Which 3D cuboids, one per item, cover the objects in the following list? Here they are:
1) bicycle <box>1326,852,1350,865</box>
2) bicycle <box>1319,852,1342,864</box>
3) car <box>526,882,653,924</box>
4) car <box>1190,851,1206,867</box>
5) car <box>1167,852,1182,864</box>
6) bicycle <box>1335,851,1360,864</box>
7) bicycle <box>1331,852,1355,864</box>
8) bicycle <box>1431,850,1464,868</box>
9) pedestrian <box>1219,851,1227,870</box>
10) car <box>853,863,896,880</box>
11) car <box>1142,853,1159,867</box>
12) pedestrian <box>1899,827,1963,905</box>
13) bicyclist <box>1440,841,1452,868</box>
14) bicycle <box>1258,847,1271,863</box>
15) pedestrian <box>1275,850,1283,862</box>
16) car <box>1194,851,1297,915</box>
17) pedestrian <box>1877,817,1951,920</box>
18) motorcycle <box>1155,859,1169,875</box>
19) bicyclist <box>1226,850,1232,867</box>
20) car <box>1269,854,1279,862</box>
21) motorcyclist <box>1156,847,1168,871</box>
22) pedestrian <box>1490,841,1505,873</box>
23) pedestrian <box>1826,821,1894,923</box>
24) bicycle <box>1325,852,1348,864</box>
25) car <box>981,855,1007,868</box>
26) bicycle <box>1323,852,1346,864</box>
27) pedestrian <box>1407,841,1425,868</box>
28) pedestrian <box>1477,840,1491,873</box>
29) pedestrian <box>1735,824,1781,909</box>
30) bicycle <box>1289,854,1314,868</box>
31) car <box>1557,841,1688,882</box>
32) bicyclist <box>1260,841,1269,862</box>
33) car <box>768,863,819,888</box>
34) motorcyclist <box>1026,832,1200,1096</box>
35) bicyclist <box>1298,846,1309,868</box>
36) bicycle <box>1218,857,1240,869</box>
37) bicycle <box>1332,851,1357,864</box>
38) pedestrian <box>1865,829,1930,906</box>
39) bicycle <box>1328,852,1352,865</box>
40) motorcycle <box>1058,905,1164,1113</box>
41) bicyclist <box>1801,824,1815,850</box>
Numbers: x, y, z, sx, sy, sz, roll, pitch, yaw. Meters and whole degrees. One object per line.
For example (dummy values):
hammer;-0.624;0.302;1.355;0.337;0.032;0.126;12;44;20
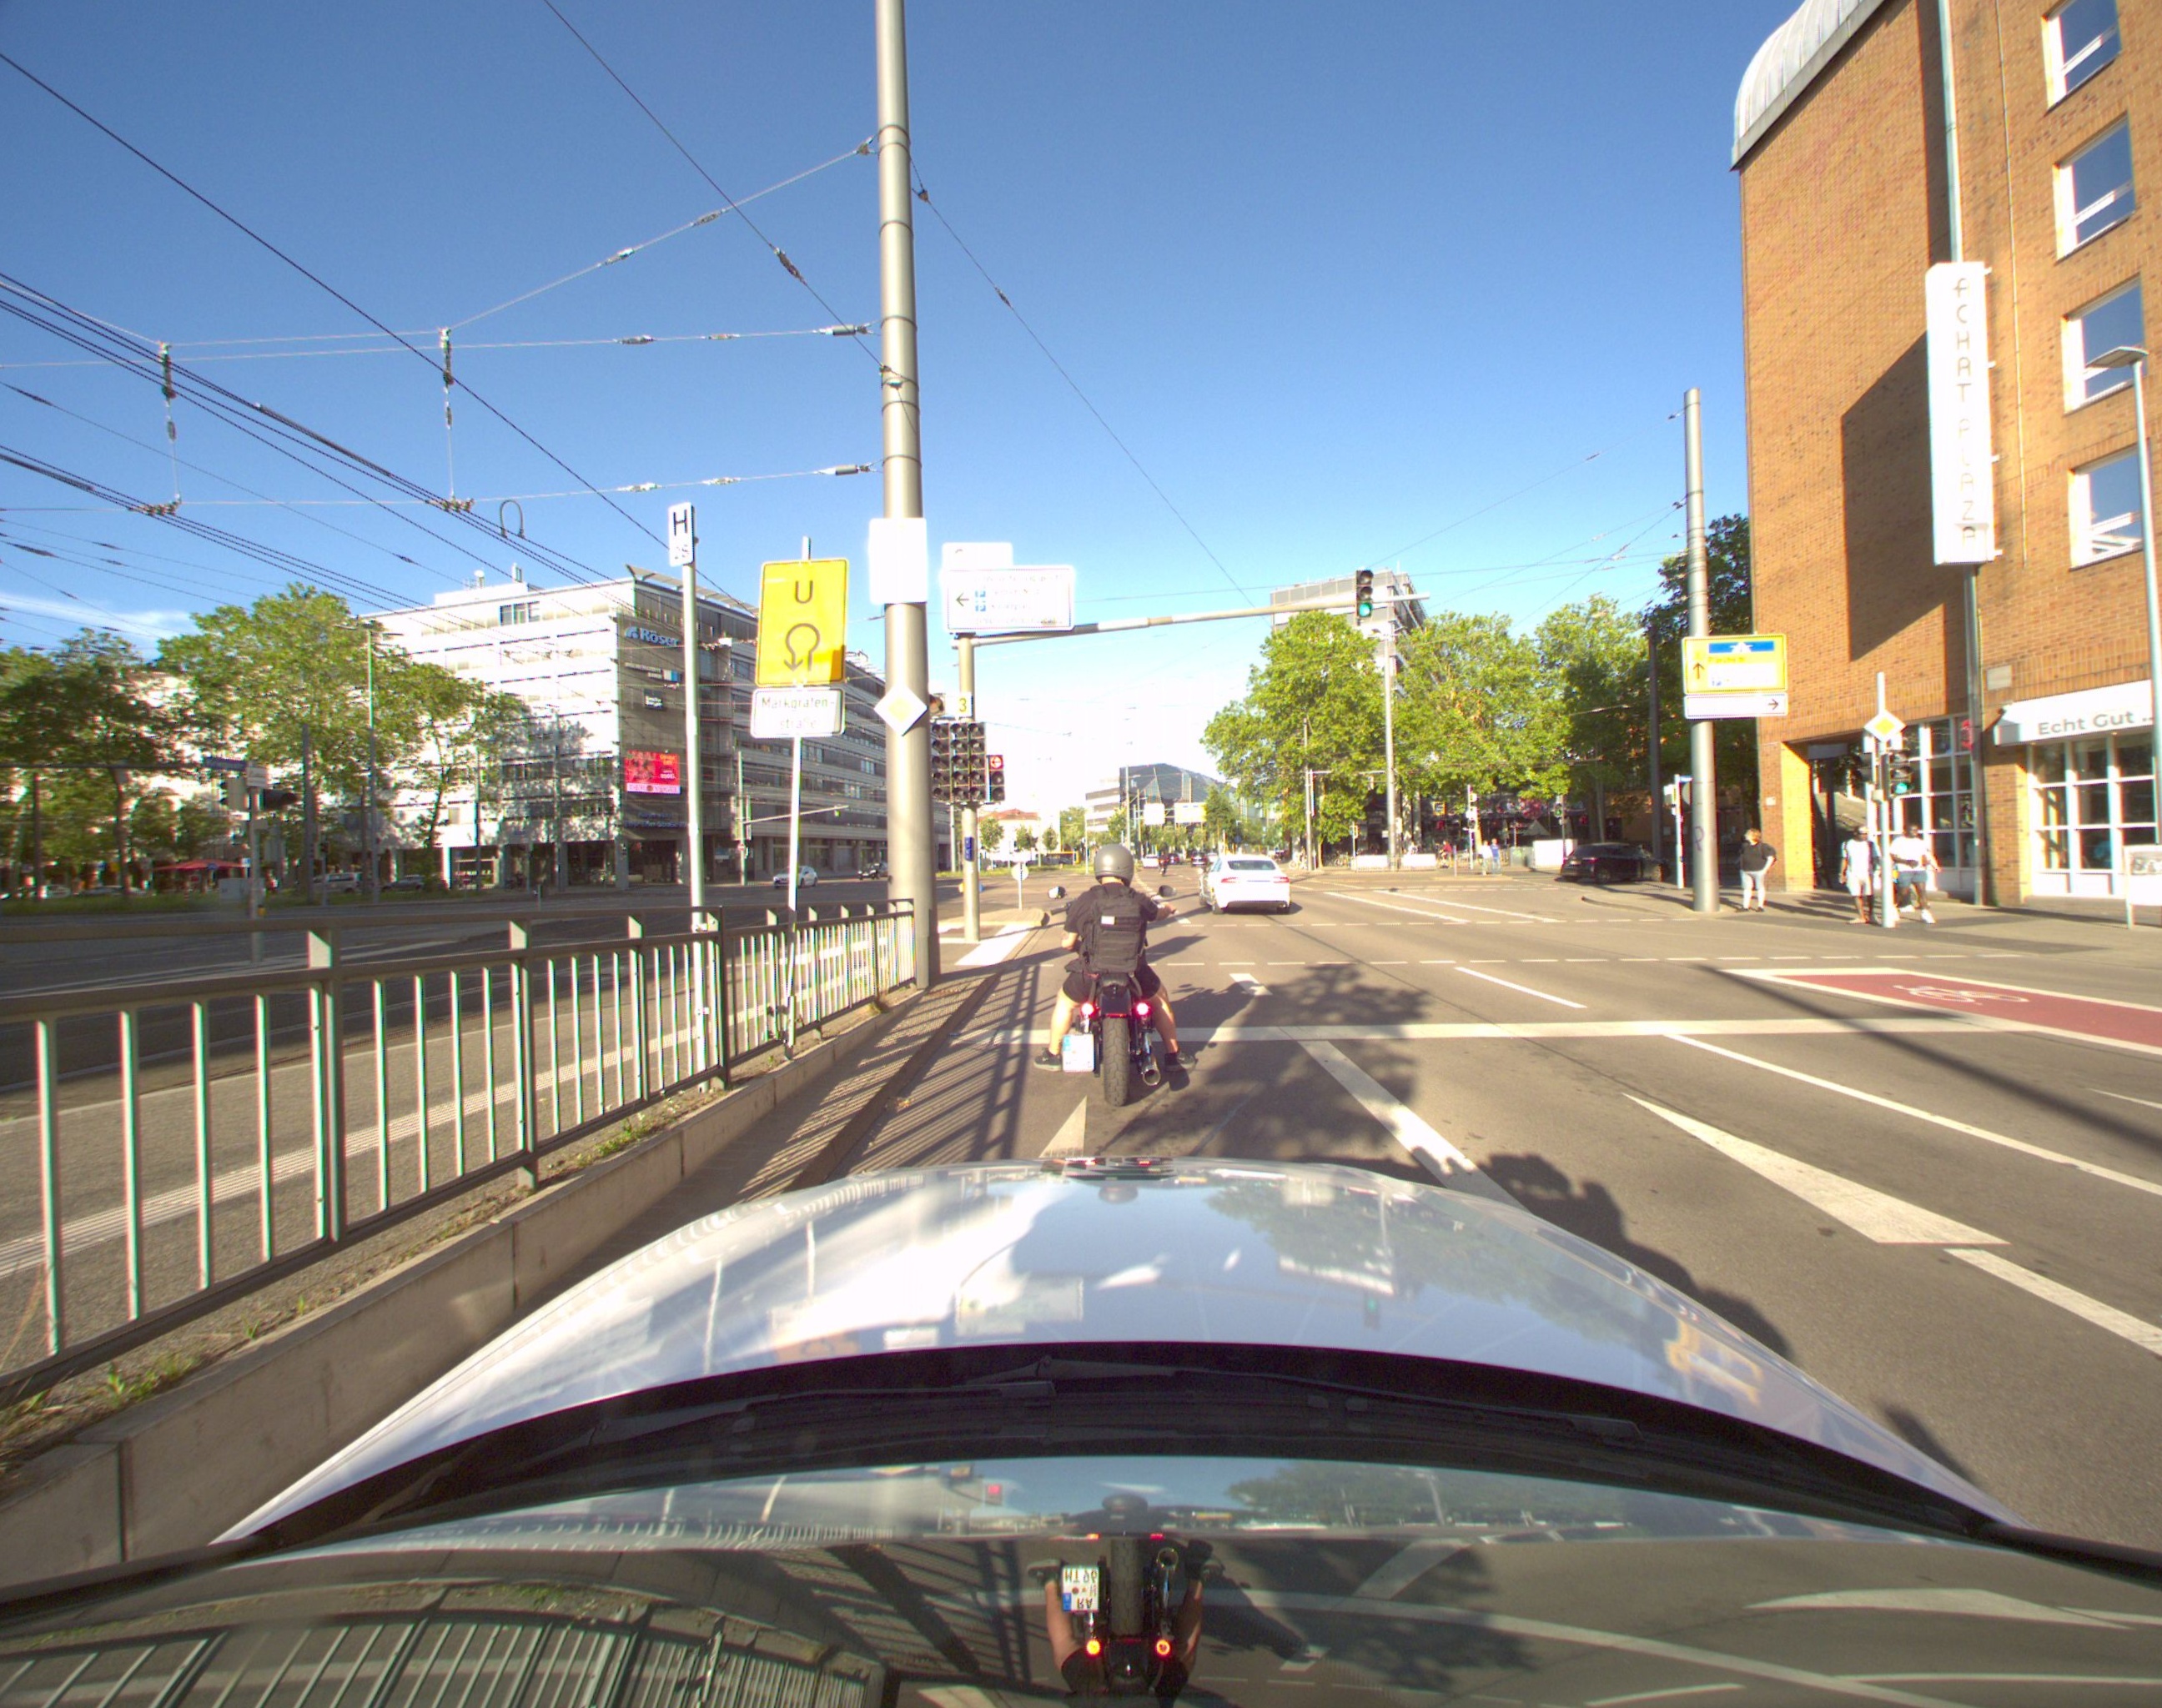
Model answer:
bicycle;21.537;0.354;68.170;1.874;1.046;0.360;0;-1;1
bicycle;21.526;0.353;70.308;1.874;1.046;0.360;0;0;1
car;-13.863;1.358;23.112;2.884;1.063;1.235;0;-1;-19
car;13.365;0.583;92.881;1.721;1.732;4.624;0;0;9
car;13.212;0.620;115.080;1.791;1.678;4.054;0;-1;12
bicycle;21.376;0.282;65.386;1.874;1.046;0.360;0;-1;1
bicycle;21.547;0.327;66.981;1.874;1.046;0.360;0;-1;1
bicycle;25.244;0.347;56.145;2.034;1.214;0.421;0;-1;2
pedestrian;11.954;0.535;68.550;0.587;1.557;0.488;0;-1;-6
car;-18.048;1.498;71.313;1.812;1.430;4.256;-1;-1;13
car;7.395;0.621;86.368;1.723;1.457;4.425;0;-1;6
pedestrian;16.668;0.230;15.980;0.590;1.476;0.552;-2;-1;2
bicyclist;25.177;0.039;56.158;0.582;1.837;0.403;0;-1;1
bicycle;16.386;0.109;72.822;0.722;1.367;2.922;0;-1;6
pedestrian;21.949;0.276;90.250;0.814;1.314;0.640;-1;-1;11
car;4.126;0.677;21.106;1.797;1.430;4.453;-2;0;1
pedestrian;14.832;0.258;14.518;0.588;1.780;0.684;-3;-1;13
motorcycle;5.451;0.853;54.893;0.801;1.050;2.376;0;-1;2
bicyclist;12.191;0.391;66.964;0.380;1.373;0.344;0;-1;-7
car;40.257;0.824;169.650;1.789;1.678;4.059;0;-1;18
motorcyclist;5.437;0.330;54.763;0.793;1.580;0.529;0;-1;1
pedestrian;19.577;0.126;38.259;0.561;1.479;0.706;-1;-1;22
pedestrian;14.138;0.320;14.800;0.587;1.780;0.685;-5;0;22
bicycle;21.520;0.348;68.656;1.874;1.046;0.360;0;0;1
car;-10.225;0.926;95.886;1.737;1.524;4.014;-1;-1;13
bicycle;21.519;0.348;69.156;1.874;1.046;0.360;0;0;1
pedestrian;21.341;0.021;51.876;0.829;1.704;0.760;0;-1;2
pedestrian;18.980;0.103;38.372;0.560;1.532;0.706;-1;-1;27
pedestrian;14.530;0.270;17.482;0.727;1.792;0.515;-1;-1;42
bicycle;17.559;0.562;64.982;1.854;1.044;0.540;-1;-1;20
car;20.294;0.272;30.597;4.026;1.450;1.732;-1;0;-9
bicyclist;16.389;-0.232;72.915;0.693;1.808;0.730;0;-1;6
car;-18.678;1.367;53.120;1.821;1.430;4.526;-2;0;-2
motorcyclist;0.208;0.675;5.423;1.027;1.593;0.874;-2;0;1
bicyclist;17.740;0.240;64.919;0.682;1.673;0.544;-2;-2;21
bicycle;12.171;0.751;66.948;1.823;0.925;0.357;0;-1;-7
bicycle;21.404;0.304;66.168;1.874;1.046;0.360;0;-1;1
pedestrian;15.971;0.260;15.943;0.590;1.452;0.601;-2;-1;2
bicycle;21.488;0.346;67.538;1.874;1.046;0.360;0;0;1
motorcycle;0.209;0.951;5.755;0.598;1.036;2.235;0;0;2
bicyclist;42.717;-0.992;47.857;0.560;1.519;0.637;-1;-1;41
